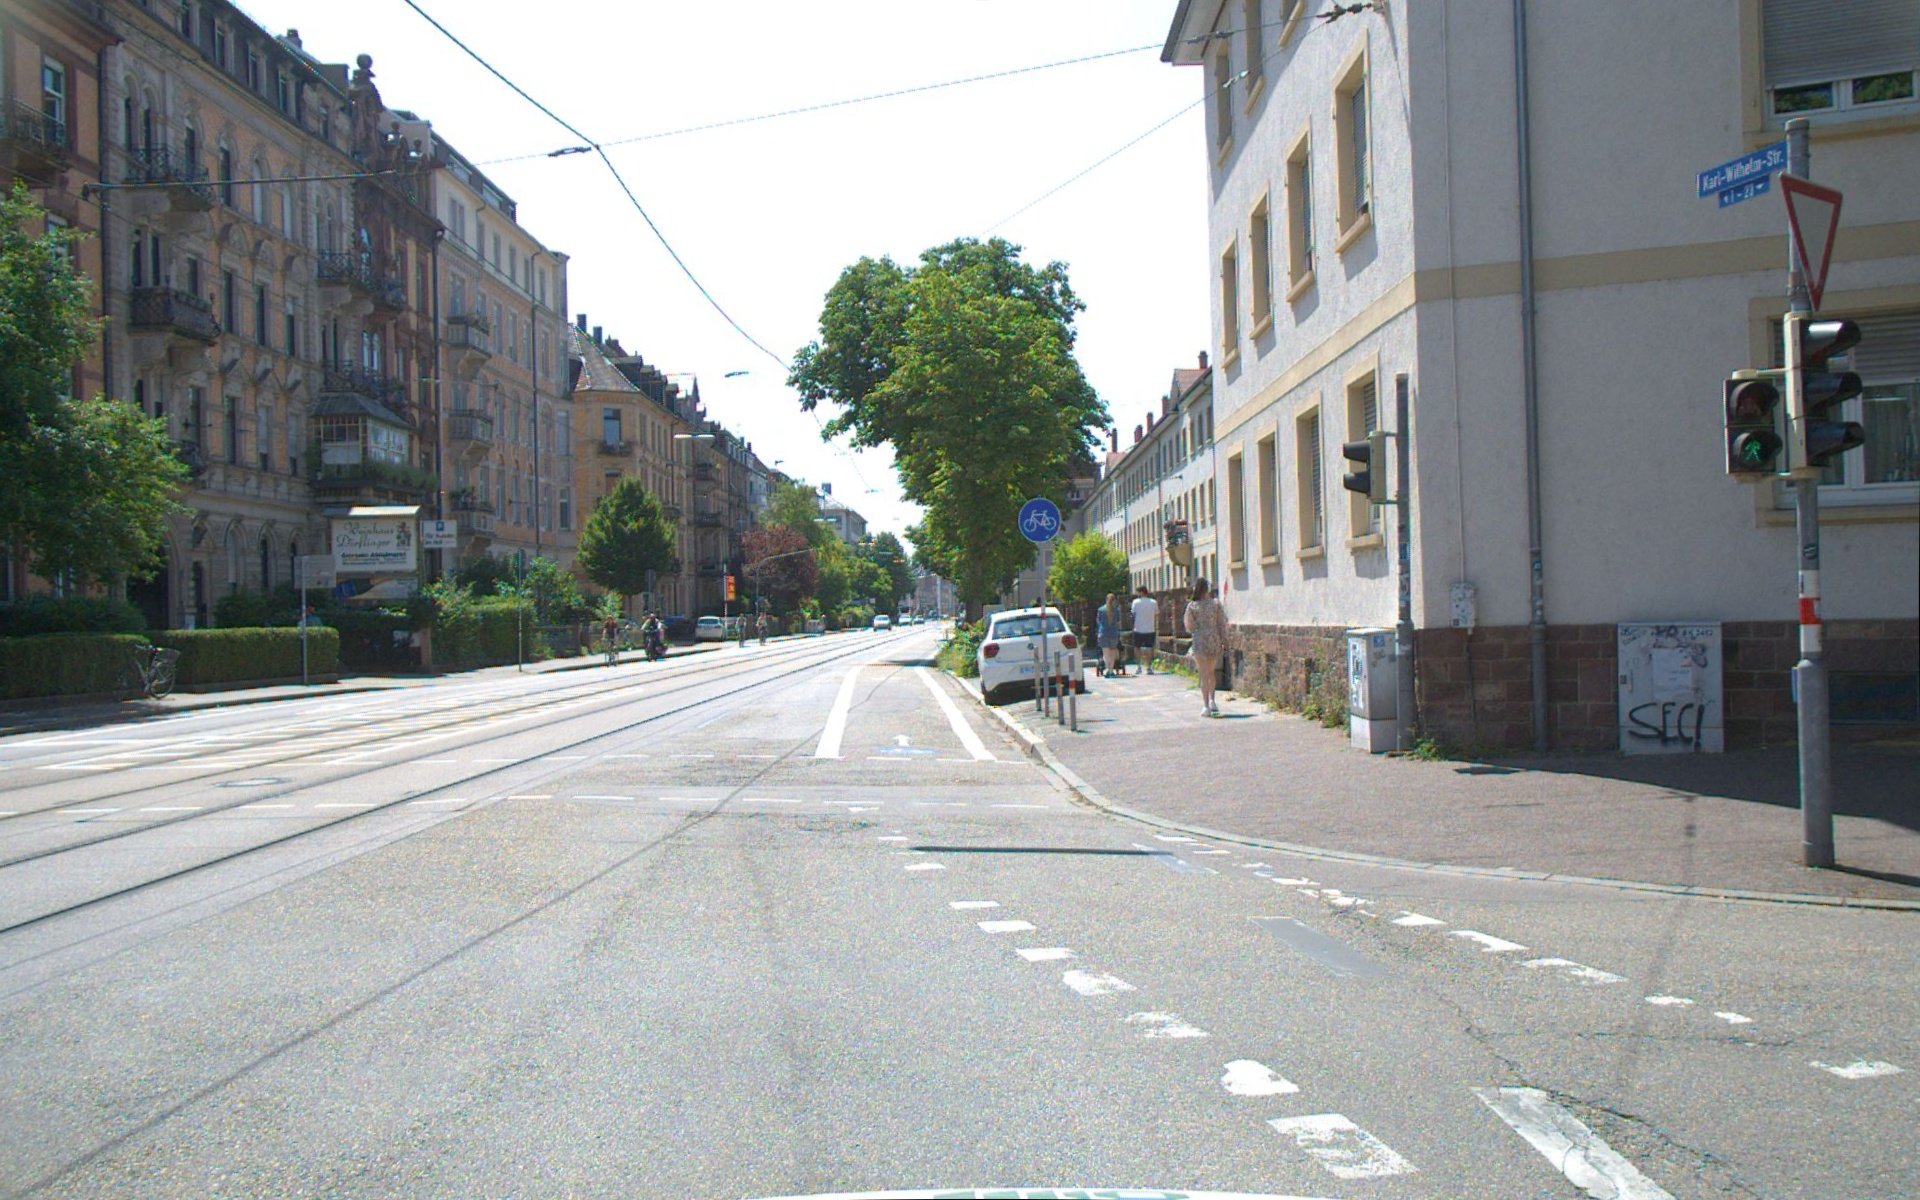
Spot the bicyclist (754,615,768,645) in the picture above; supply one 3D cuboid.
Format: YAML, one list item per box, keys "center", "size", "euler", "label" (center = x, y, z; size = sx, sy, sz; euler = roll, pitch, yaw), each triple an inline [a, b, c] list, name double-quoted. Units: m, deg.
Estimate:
- center: [-10.726, 1.593, 89.166]
  size: [0.580, 1.571, 0.952]
  euler: [-3, -1, 0]
  label: "bicyclist"

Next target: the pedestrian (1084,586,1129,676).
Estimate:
- center: [2.875, 0.606, 32.503]
  size: [0.683, 1.698, 0.869]
  euler: [-4, -1, -1]
  label: "pedestrian"

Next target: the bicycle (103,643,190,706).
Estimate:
- center: [-15.641, 1.417, 31.849]
  size: [0.625, 1.112, 1.932]
  euler: [0, 0, 3]
  label: "bicycle"

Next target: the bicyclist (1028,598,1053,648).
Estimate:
- center: [2.395, 0.680, 49.318]
  size: [0.696, 1.477, 1.010]
  euler: [-2, -1, 2]
  label: "bicyclist"

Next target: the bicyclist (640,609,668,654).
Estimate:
- center: [-11.443, 1.162, 61.927]
  size: [0.791, 1.658, 0.980]
  euler: [-2, -1, 1]
  label: "bicyclist"

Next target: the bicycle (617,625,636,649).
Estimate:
- center: [-14.809, 1.629, 73.380]
  size: [0.486, 1.004, 1.710]
  euler: [2, 0, -1]
  label: "bicycle"

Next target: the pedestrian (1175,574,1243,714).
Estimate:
- center: [3.127, 0.546, 20.812]
  size: [0.683, 1.699, 0.756]
  euler: [-2, -1, -1]
  label: "pedestrian"

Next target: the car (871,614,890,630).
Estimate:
- center: [-7.790, 2.181, 162.783]
  size: [1.650, 1.475, 4.000]
  euler: [-2, 0, 0]
  label: "car"

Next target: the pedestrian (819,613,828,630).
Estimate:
- center: [-13.197, 2.087, 159.978]
  size: [0.736, 1.657, 0.833]
  euler: [-1, -1, -3]
  label: "pedestrian"

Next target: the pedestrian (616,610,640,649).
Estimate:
- center: [-15.122, 1.335, 75.335]
  size: [0.834, 1.753, 1.139]
  euler: [1, -1, 1]
  label: "pedestrian"

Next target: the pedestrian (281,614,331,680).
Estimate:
- center: [-17.468, 1.246, 44.165]
  size: [0.890, 1.730, 0.823]
  euler: [-2, -1, 27]
  label: "pedestrian"

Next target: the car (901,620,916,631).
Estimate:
- center: [-6.900, 3.408, 222.041]
  size: [1.720, 1.449, 4.000]
  euler: [-2, -1, 1]
  label: "car"

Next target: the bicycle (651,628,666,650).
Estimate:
- center: [-14.663, 1.888, 80.562]
  size: [0.430, 1.001, 1.710]
  euler: [-1, 0, -1]
  label: "bicycle"

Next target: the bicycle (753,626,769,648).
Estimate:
- center: [-10.704, 1.985, 89.146]
  size: [0.569, 1.097, 1.890]
  euler: [-3, 0, 0]
  label: "bicycle"

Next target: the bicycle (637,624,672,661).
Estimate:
- center: [-11.425, 1.588, 61.929]
  size: [0.791, 1.294, 2.551]
  euler: [-2, 0, 1]
  label: "bicycle"

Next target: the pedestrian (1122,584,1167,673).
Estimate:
- center: [3.665, 0.562, 32.886]
  size: [0.683, 1.698, 0.756]
  euler: [-4, -1, -1]
  label: "pedestrian"

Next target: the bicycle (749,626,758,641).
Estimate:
- center: [-14.439, 2.344, 115.662]
  size: [0.445, 1.021, 1.805]
  euler: [-1, -1, -3]
  label: "bicycle"

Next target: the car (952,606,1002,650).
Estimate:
- center: [0.606, 1.031, 62.158]
  size: [1.623, 1.541, 3.998]
  euler: [-2, 0, -2]
  label: "car"

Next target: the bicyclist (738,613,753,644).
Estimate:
- center: [-11.570, 1.549, 89.163]
  size: [0.621, 1.612, 1.028]
  euler: [-3, -1, 0]
  label: "bicyclist"

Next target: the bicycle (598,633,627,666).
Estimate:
- center: [-11.898, 1.698, 56.653]
  size: [0.556, 1.056, 1.829]
  euler: [-2, 0, 1]
  label: "bicycle"

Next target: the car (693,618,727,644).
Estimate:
- center: [-16.091, 1.979, 106.612]
  size: [1.829, 1.628, 4.097]
  euler: [0, -1, -5]
  label: "car"

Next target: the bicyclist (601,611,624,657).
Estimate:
- center: [-11.908, 1.168, 56.647]
  size: [0.551, 1.542, 0.892]
  euler: [-2, -1, 1]
  label: "bicyclist"

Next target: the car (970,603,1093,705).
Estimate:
- center: [1.145, 0.869, 28.333]
  size: [1.742, 1.434, 4.155]
  euler: [-6, 0, -1]
  label: "car"

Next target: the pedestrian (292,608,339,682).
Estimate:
- center: [-16.798, 1.163, 43.131]
  size: [0.863, 1.889, 0.811]
  euler: [-2, -1, 42]
  label: "pedestrian"

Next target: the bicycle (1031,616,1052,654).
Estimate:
- center: [2.429, 1.033, 49.228]
  size: [0.589, 1.069, 1.823]
  euler: [-2, 0, 2]
  label: "bicycle"

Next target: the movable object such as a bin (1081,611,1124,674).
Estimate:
- center: [2.883, 0.857, 33.452]
  size: [0.683, 1.206, 1.036]
  euler: [-4, 0, -1]
  label: "movable object such as a bin"

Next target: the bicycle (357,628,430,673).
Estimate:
- center: [-15.989, 1.419, 46.711]
  size: [1.833, 1.249, 0.568]
  euler: [0, -1, -3]
  label: "bicycle"

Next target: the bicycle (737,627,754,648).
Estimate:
- center: [-11.546, 2.021, 89.116]
  size: [0.616, 1.097, 1.875]
  euler: [-3, 0, 0]
  label: "bicycle"

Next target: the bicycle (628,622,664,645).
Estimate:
- center: [-15.552, 1.654, 81.931]
  size: [1.669, 1.055, 0.551]
  euler: [-1, -1, 5]
  label: "bicycle"
